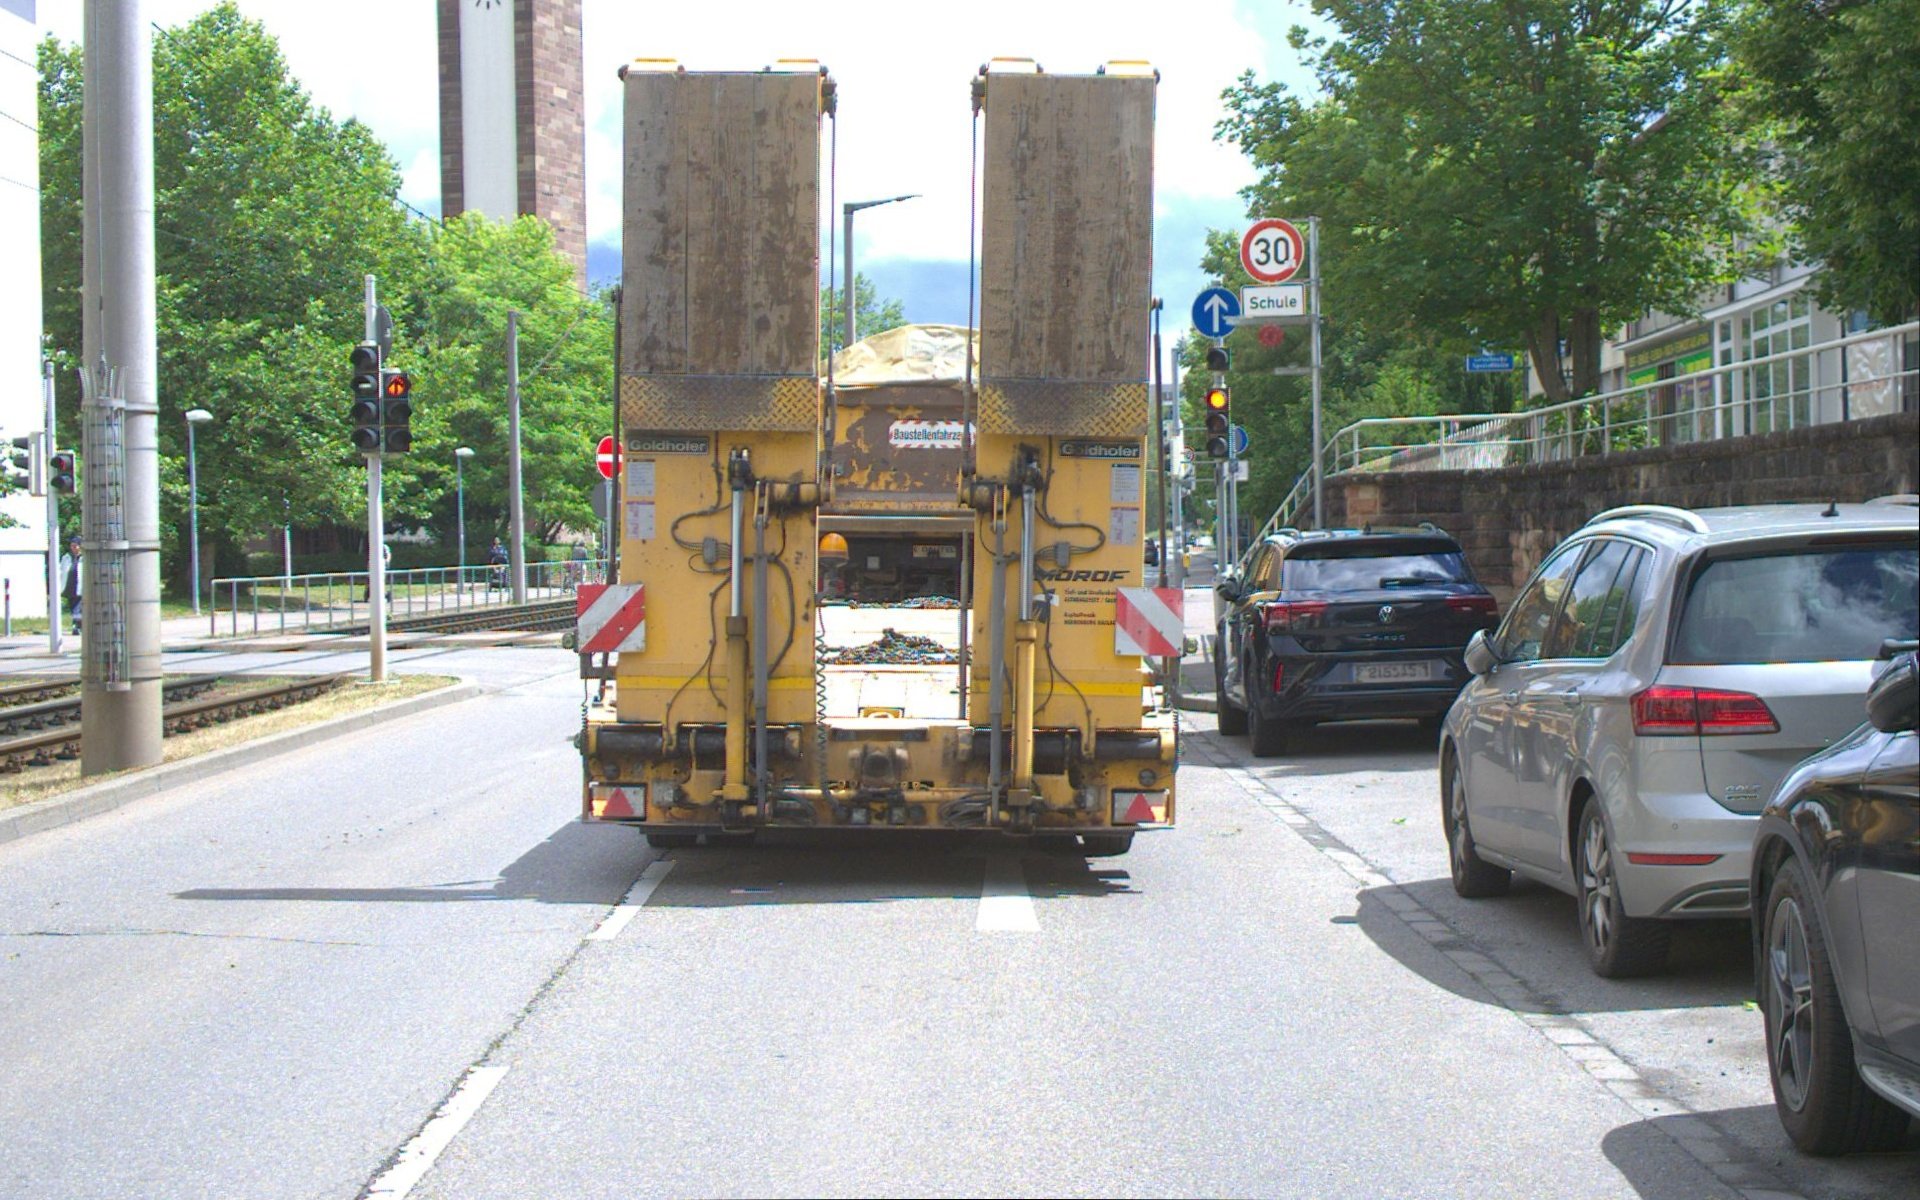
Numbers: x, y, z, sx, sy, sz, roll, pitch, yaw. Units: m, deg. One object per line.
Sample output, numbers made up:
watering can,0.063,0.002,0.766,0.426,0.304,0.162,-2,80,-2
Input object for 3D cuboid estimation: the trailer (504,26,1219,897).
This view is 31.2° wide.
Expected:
trailer,-0.335,-0.659,18.602,2.945,3.589,8.684,0,1,1

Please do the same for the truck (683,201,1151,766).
truck,-0.237,-0.786,24.224,2.943,3.560,4.877,0,1,1

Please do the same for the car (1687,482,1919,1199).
car,2.845,0.533,6.697,1.790,1.612,4.448,-3,1,-1

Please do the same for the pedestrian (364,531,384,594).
pedestrian,-14.381,-0.930,84.352,0.348,1.531,0.557,0,1,4

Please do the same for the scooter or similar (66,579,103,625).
scooter or similar,-14.291,0.035,56.126,0.438,0.745,0.474,0,1,5

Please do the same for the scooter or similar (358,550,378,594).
scooter or similar,-14.410,-0.685,83.703,0.338,1.054,0.687,0,1,3

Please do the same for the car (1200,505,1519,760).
car,2.792,0.180,24.834,1.851,1.633,4.000,-2,1,1

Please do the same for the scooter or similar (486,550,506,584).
scooter or similar,-13.516,-0.967,100.126,0.505,0.968,0.646,1,1,-1

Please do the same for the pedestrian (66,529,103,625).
pedestrian,-14.417,-0.387,56.604,0.438,1.575,0.474,0,1,4

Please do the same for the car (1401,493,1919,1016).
car,2.878,0.433,12.913,1.790,1.612,4.249,-2,1,-1

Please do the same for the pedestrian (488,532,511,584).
pedestrian,-13.494,-1.243,100.773,0.563,1.508,0.646,1,1,-1
